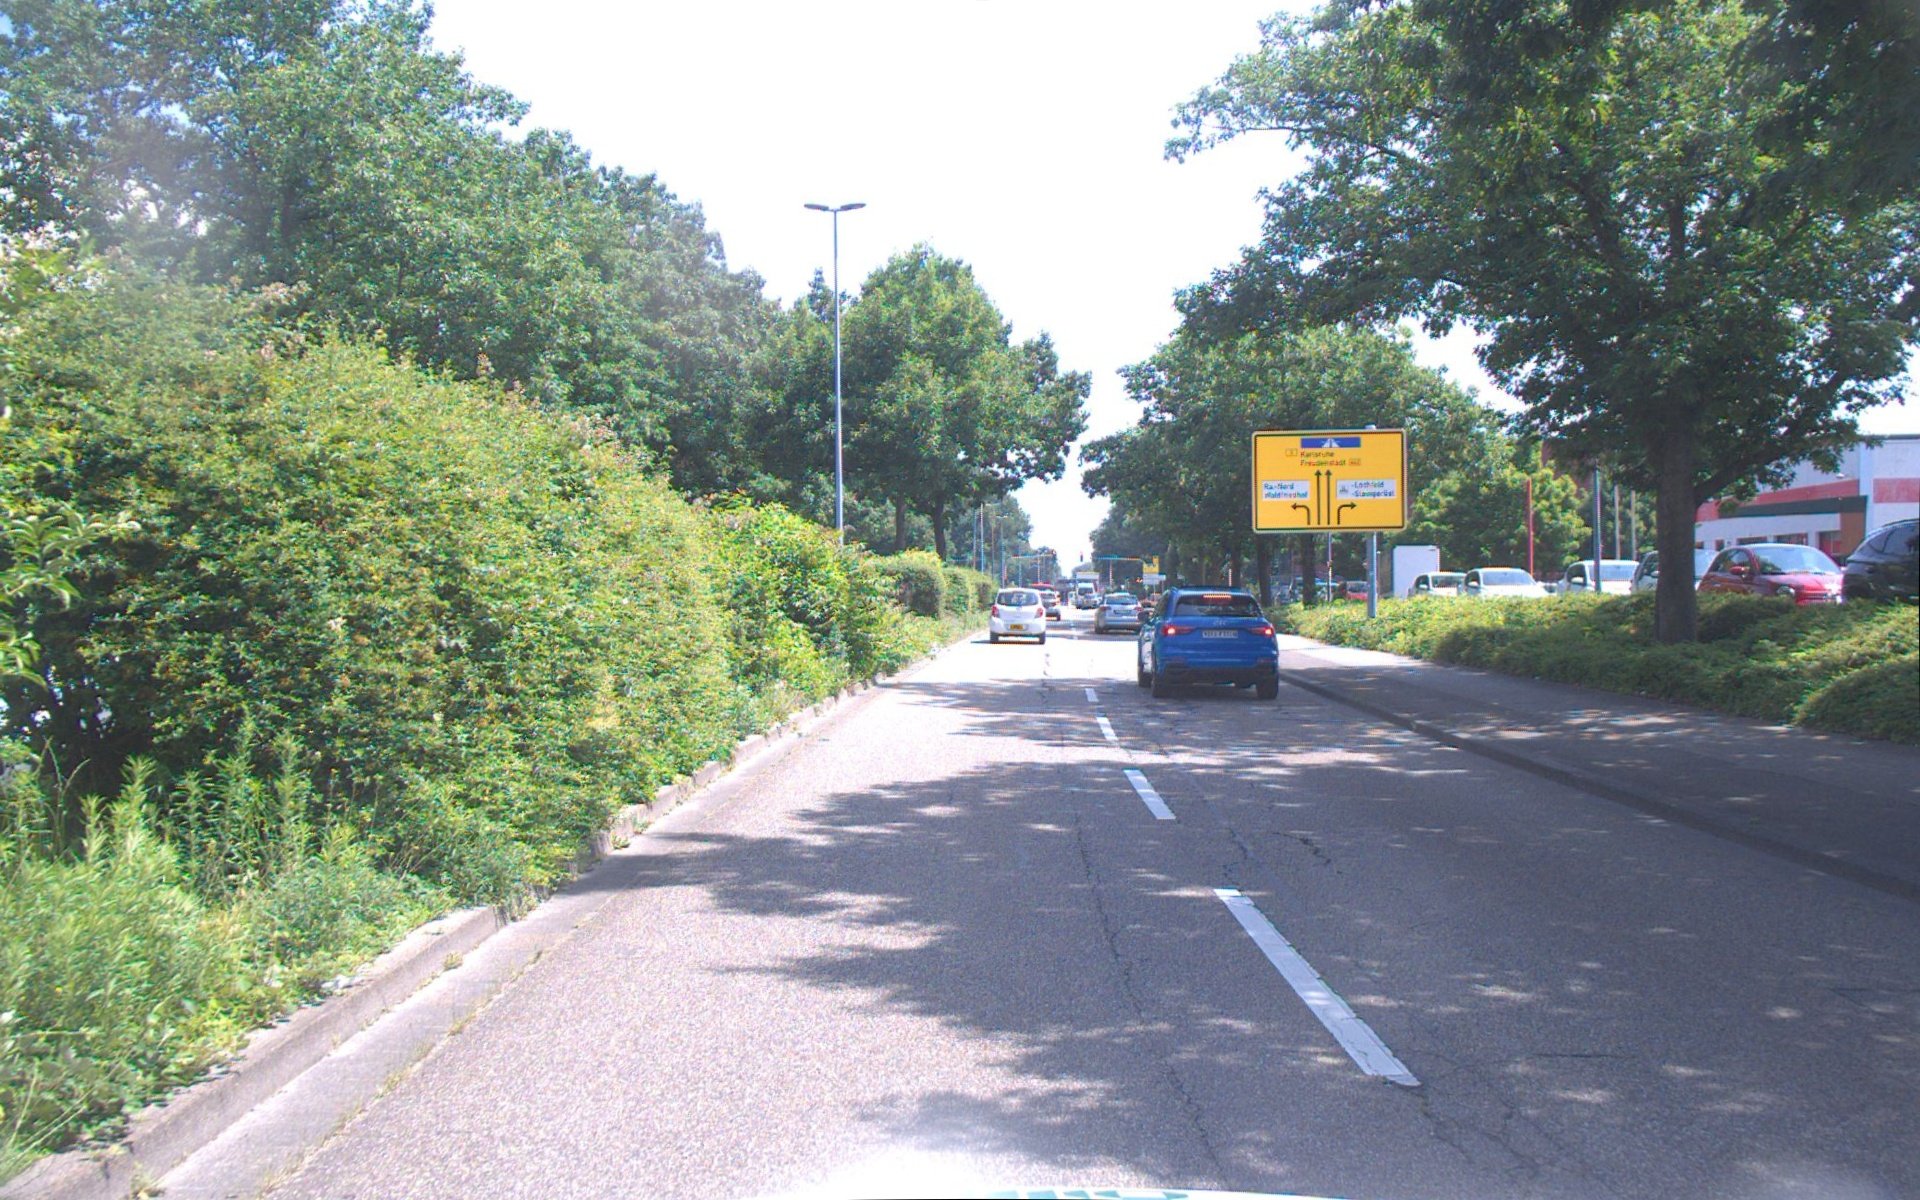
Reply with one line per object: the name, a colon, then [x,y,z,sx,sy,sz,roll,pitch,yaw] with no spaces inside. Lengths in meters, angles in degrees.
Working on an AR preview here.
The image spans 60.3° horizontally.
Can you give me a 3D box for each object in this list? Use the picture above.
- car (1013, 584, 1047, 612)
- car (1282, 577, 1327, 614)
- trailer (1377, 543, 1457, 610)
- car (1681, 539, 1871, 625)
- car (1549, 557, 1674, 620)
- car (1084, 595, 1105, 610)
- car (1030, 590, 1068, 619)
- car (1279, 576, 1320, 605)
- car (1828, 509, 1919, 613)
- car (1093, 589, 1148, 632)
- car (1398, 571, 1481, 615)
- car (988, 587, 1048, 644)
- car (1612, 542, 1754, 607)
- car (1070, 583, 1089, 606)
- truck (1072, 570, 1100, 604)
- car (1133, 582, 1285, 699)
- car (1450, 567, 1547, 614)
car: [3.991,-0.094,94.223,1.758,1.550,4.000,0,0,0]
car: [16.460,-0.206,79.233,1.664,1.666,3.908,-1,0,5]
trailer: [15.181,-0.777,55.151,1.664,2.091,5.488,-1,1,6]
car: [13.030,-0.260,26.648,1.584,1.275,3.766,0,0,7]
car: [14.060,-0.232,35.876,1.584,1.275,3.869,0,0,7]
car: [12.840,0.216,157.637,1.827,1.333,4.002,-1,1,3]
car: [4.443,0.220,82.163,1.845,1.378,4.002,0,0,4]
car: [17.321,-0.462,84.572,1.664,1.449,4.657,-1,0,7]
car: [12.727,-0.478,20.859,1.585,1.275,4.201,1,0,4]
car: [5.764,0.372,59.768,1.826,1.499,4.002,0,0,3]
car: [14.505,-0.211,50.171,1.585,1.275,3.631,0,0,2]
car: [1.639,0.444,47.635,1.605,1.579,3.325,-1,0,0]
car: [13.370,-0.445,30.731,1.476,1.142,2.856,0,0,2]
car: [12.496,-0.567,172.989,1.952,2.295,4.002,-1,0,4]
truck: [13.962,-1.436,183.423,2.870,3.563,9.162,-1,0,4]
car: [3.709,0.570,25.282,1.771,1.620,4.350,0,0,2]
car: [14.220,-0.242,43.843,1.560,1.178,3.739,0,0,3]
